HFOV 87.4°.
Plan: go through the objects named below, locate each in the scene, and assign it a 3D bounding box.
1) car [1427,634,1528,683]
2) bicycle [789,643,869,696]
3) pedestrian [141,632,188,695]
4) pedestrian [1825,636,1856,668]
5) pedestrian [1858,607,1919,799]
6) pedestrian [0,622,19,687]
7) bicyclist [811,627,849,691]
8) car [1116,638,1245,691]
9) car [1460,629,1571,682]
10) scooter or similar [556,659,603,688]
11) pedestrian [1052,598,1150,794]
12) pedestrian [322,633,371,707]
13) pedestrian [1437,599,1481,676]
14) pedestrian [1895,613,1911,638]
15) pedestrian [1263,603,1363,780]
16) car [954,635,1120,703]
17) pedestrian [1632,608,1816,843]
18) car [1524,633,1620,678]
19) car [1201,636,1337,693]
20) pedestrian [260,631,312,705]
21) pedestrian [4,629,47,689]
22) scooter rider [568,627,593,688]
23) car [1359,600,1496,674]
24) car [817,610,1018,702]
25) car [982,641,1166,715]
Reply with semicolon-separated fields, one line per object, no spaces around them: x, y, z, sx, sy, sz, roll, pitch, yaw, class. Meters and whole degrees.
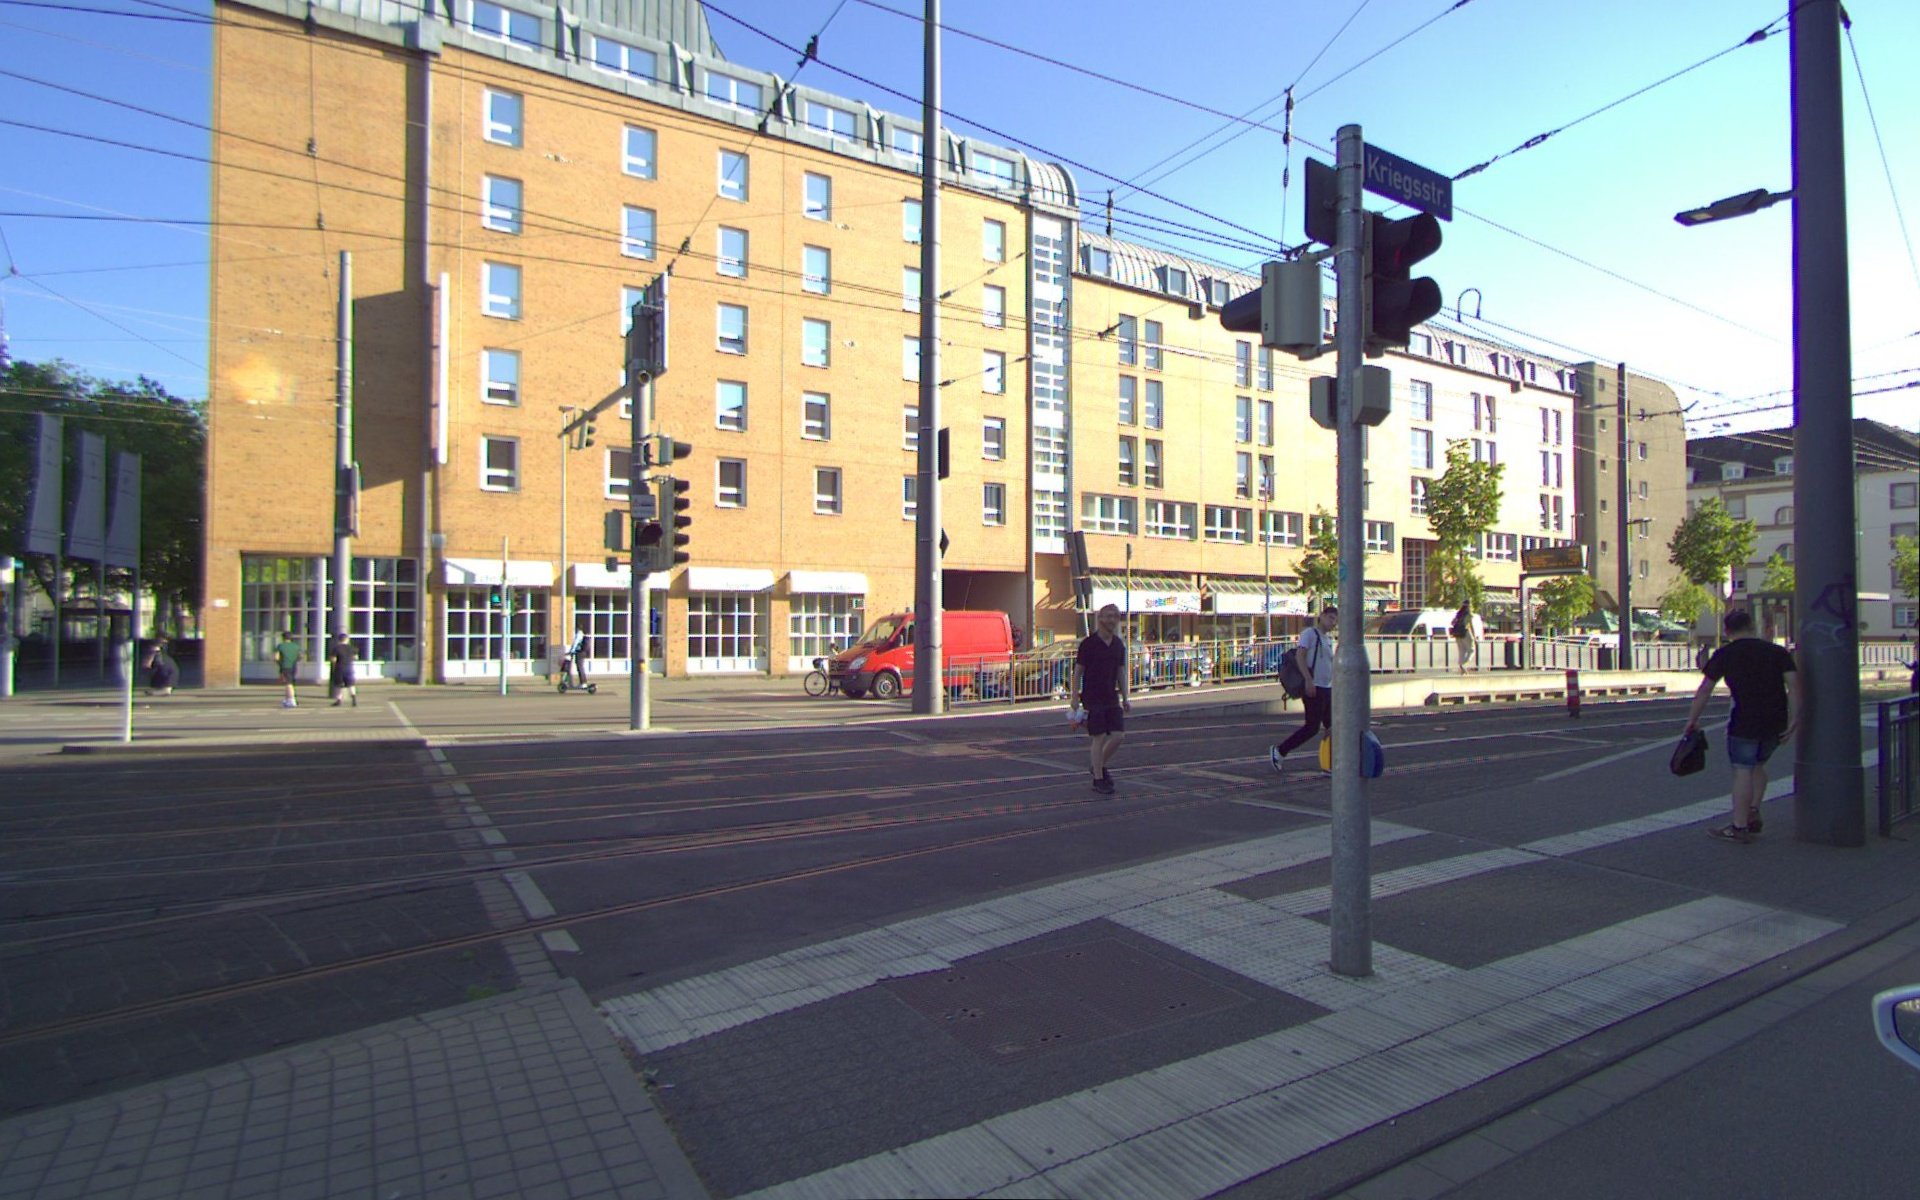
21.396;2.368;41.510;4.271;1.891;1.875;0;-2;-34;car
-3.752;1.986;28.880;2.080;1.461;0.925;2;-2;-33;bicycle
-20.328;1.617;25.683;0.860;1.574;0.540;1;-2;-35;pedestrian
34.012;1.995;38.808;0.896;1.205;0.669;1;-2;-32;pedestrian
8.005;0.846;8.412;0.542;1.559;0.489;1;-2;-17;pedestrian
-28.671;1.606;29.891;0.636;1.920;0.744;1;-2;-11;pedestrian
-3.736;1.676;28.869;0.807;1.810;0.810;1;-2;-33;bicyclist
7.212;2.059;32.763;3.958;1.553;1.875;0;-2;-34;car
21.291;2.077;38.439;4.268;1.891;1.876;0;-2;-32;car
-11.232;2.167;29.687;1.217;0.842;0.544;1;-2;-11;scooter or similar
1.287;0.860;9.252;0.736;1.724;0.623;0;-2;-11;pedestrian
-14.773;1.673;24.199;0.763;1.740;0.641;0;-2;-4;pedestrian
11.317;0.847;22.798;0.568;1.706;0.675;1;-2;-27;pedestrian
75.964;2.047;80.921;0.618;2.040;0.796;0;-2;-31;pedestrian
3.645;0.919;10.381;0.770;1.740;0.636;1;-2;-33;pedestrian
1.997;1.712;25.829;3.958;1.553;1.875;0;-2;-34;car
5.454;0.852;7.191;0.840;1.559;0.711;1;-2;-23;pedestrian
27.670;2.457;45.398;4.264;1.891;1.878;0;-2;-30;car
9.361;1.885;30.355;3.958;1.553;1.875;0;-2;-34;car
-15.977;1.605;23.812;0.763;1.740;0.641;0;-2;-4;pedestrian
-27.847;1.760;29.939;0.636;1.765;0.704;0;-2;-11;pedestrian
-11.243;1.690;29.736;0.560;1.778;0.533;0;-2;-8;scooter rider
16.192;1.290;34.716;4.867;2.389;2.034;1;-2;-33;car
-1.106;1.498;27.578;5.210;2.319;2.066;2;-2;-34;car
2.604;1.686;22.650;3.958;1.467;1.747;0;-2;-34;car
